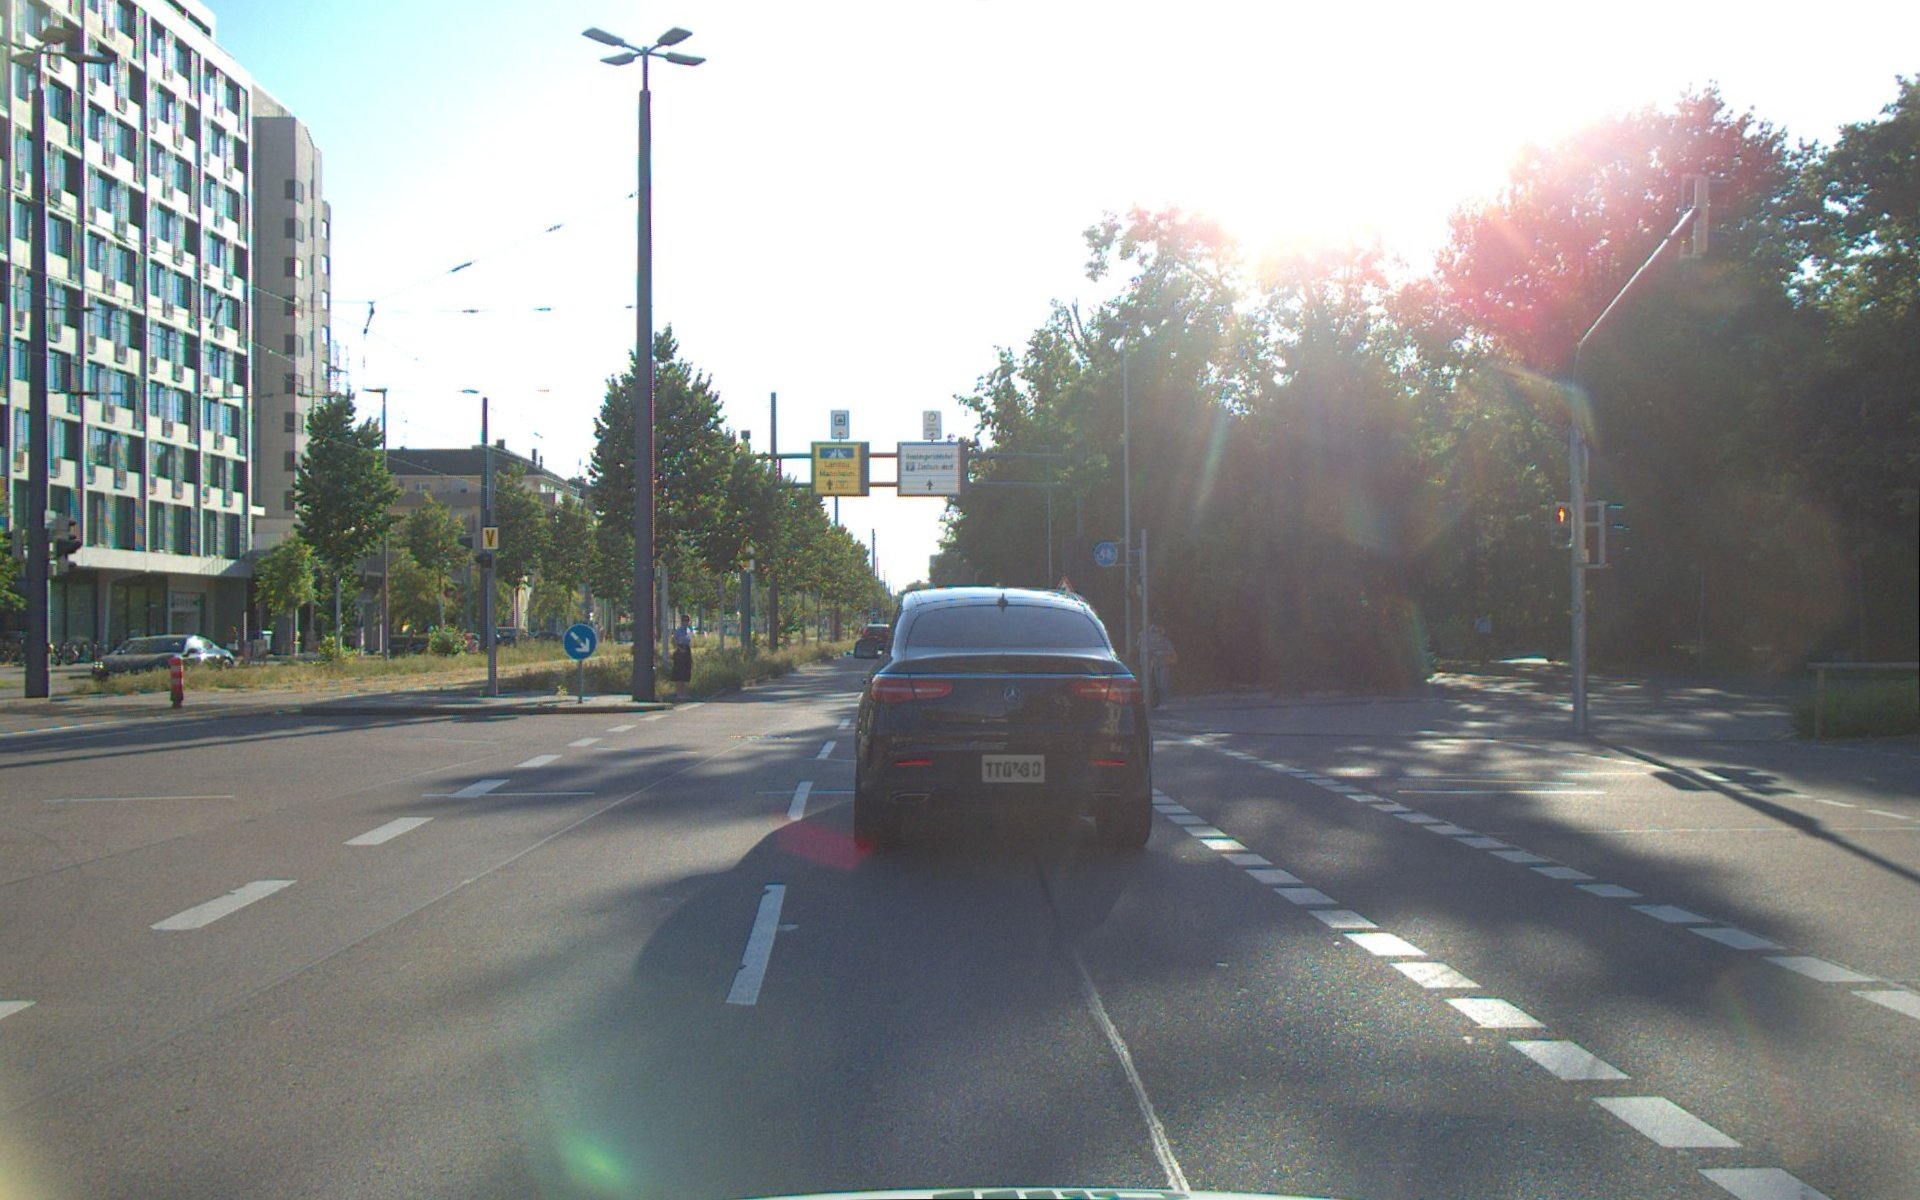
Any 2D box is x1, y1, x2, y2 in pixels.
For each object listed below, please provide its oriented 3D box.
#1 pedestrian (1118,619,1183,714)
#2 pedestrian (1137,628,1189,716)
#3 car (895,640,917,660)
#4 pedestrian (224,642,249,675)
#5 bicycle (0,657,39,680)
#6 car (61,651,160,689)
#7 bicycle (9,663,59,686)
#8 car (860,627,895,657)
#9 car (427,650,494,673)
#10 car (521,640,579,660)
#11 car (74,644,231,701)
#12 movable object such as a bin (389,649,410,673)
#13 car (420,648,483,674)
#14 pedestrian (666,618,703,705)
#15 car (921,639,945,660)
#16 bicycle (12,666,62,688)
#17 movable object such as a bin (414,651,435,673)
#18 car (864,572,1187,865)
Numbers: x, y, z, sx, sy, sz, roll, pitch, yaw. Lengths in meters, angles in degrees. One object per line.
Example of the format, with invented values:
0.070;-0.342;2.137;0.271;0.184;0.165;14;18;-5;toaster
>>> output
3.816;1.336;33.210;0.850;1.834;0.896;-1;-2;-36;pedestrian
3.973;1.400;32.397;0.752;1.665;0.768;-2;-1;-11;pedestrian
-4.511;4.183;138.667;1.848;1.608;3.998;0;-1;-2;car
-37.260;3.028;85.204;0.826;1.682;0.970;-1;-2;0;pedestrian
-39.131;2.847;68.359;1.770;0.921;0.511;0;-2;-8;bicycle
-32.301;2.658;63.004;1.721;1.351;3.999;1;-1;-1;car
-38.961;3.136;69.576;1.770;0.921;0.511;0;-2;-8;bicycle
-4.550;2.307;91.741;1.848;1.608;3.998;0;-1;-2;car
-33.223;4.101;110.144;1.754;1.478;3.978;-1;-2;40;car
-32.517;3.980;131.234;3.968;1.590;1.968;2;-2;-43;car
-21.112;1.858;43.465;1.853;1.367;4.848;-1;-1;-2;car
-33.270;3.613;98.169;0.839;1.381;0.940;-1;-2;13;movable object such as a bin
-32.986;3.961;107.299;3.595;1.550;1.596;3;-3;-42;car
-5.582;1.236;33.511;0.586;1.729;0.714;-1;-2;4;pedestrian
-2.191;3.961;131.858;1.848;1.608;3.998;0;-1;-2;car
-39.021;3.258;69.929;1.770;0.921;0.511;0;-2;-8;bicycle
-31.916;3.698;98.521;0.839;1.303;0.940;-1;-2;13;movable object such as a bin
0.294;0.769;12.068;1.954;1.765;3.996;0;-1;-4;car
